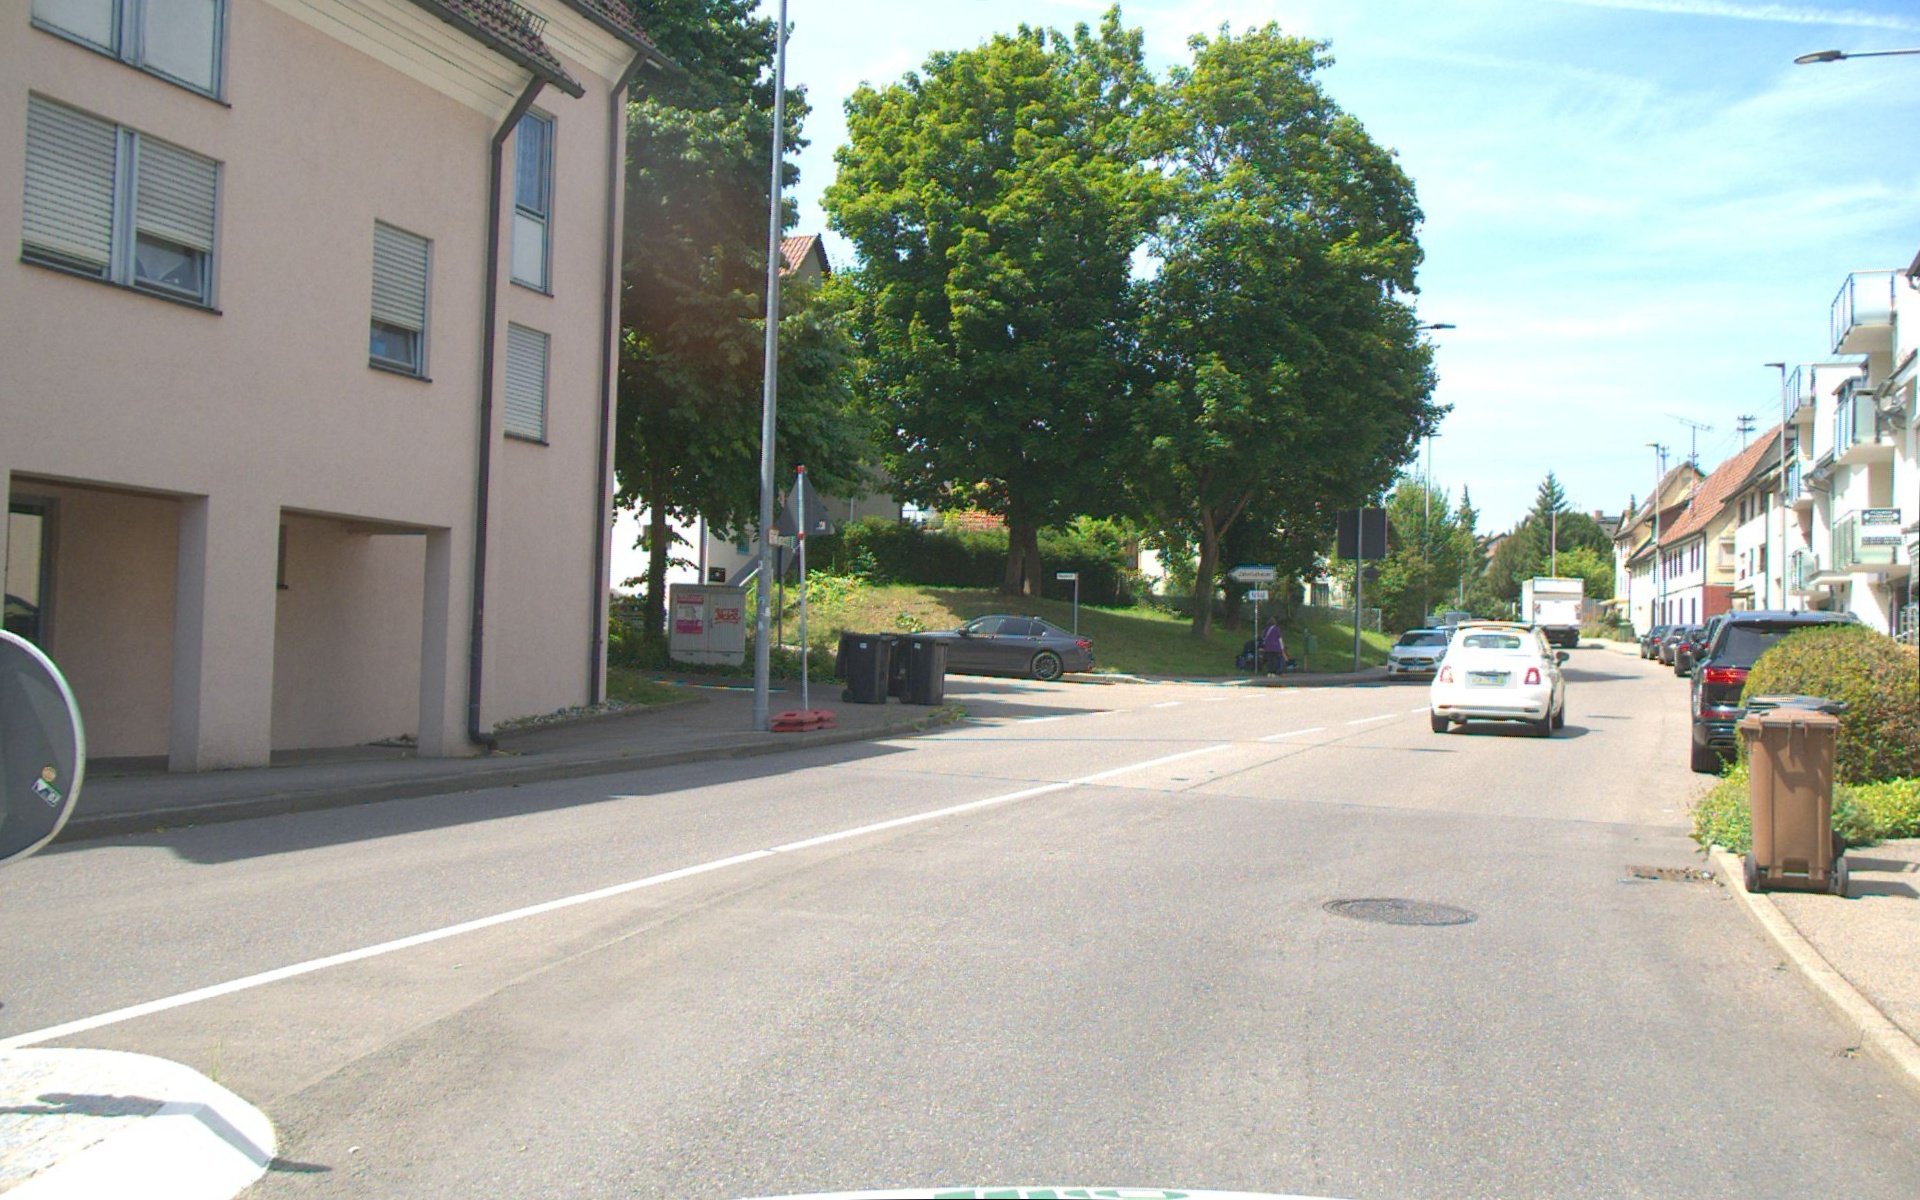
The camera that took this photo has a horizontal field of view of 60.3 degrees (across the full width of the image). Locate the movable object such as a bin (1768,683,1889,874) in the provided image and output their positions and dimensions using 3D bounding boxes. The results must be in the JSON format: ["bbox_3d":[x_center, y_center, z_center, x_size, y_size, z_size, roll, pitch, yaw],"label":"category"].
[{"bbox_3d":[4.985,1.004,9.486,0.516,1.011,0.499,1,0,38],"label":"movable object such as a bin"}]

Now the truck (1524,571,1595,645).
[{"bbox_3d":[32.564,0.504,90.091,3.003,3.840,7.872,0,-1,16],"label":"truck"}]

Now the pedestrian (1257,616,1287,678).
[{"bbox_3d":[8.363,1.259,44.398,0.714,1.645,0.630,1,-1,7],"label":"pedestrian"}]

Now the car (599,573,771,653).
[{"bbox_3d":[-7.057,0.331,42.350,3.912,1.713,1.906,4,0,28],"label":"car"}]

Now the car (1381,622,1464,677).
[{"bbox_3d":[13.295,1.390,47.372,1.719,1.493,4.361,-2,-1,23],"label":"car"}]

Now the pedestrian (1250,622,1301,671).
[{"bbox_3d":[8.806,1.297,46.162,1.213,1.291,0.645,2,-1,28],"label":"pedestrian"}]

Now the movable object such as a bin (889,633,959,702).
[{"bbox_3d":[-0.556,1.030,25.490,0.835,1.018,0.693,1,-1,26],"label":"movable object such as a bin"}]

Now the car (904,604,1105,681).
[{"bbox_3d":[1.134,1.014,40.212,4.675,1.505,2.001,4,-1,5],"label":"car"}]

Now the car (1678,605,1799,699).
[{"bbox_3d":[15.846,1.026,33.857,1.913,1.746,4.715,-2,-1,22],"label":"car"}]

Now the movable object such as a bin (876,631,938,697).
[{"bbox_3d":[-0.882,1.073,27.572,0.757,1.017,0.608,4,-1,26],"label":"movable object such as a bin"}]

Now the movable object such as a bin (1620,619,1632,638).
[{"bbox_3d":[39.153,1.678,97.216,0.535,1.051,0.552,-3,-1,15],"label":"movable object such as a bin"}]

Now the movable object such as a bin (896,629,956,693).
[{"bbox_3d":[-0.574,1.043,28.239,0.757,1.017,0.608,4,-1,27],"label":"movable object such as a bin"}]

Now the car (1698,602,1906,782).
[{"bbox_3d":[9.250,0.938,18.465,1.807,1.699,4.652,1,-1,24],"label":"car"}]

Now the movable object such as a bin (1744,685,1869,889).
[{"bbox_3d":[4.506,0.978,8.830,0.489,1.011,0.504,1,-1,16],"label":"movable object such as a bin"}]

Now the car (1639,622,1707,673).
[{"bbox_3d":[21.230,1.395,49.337,1.760,1.449,4.289,-1,-1,23],"label":"car"}]

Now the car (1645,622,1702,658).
[{"bbox_3d":[28.961,1.599,67.234,1.630,1.376,4.189,0,0,16],"label":"car"}]

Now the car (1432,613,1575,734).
[{"bbox_3d":[7.949,1.006,23.991,1.690,1.587,3.999,0,-1,22],"label":"car"}]

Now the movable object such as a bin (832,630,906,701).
[{"bbox_3d":[-1.377,0.978,25.091,0.785,1.018,0.804,2,0,26],"label":"movable object such as a bin"}]
